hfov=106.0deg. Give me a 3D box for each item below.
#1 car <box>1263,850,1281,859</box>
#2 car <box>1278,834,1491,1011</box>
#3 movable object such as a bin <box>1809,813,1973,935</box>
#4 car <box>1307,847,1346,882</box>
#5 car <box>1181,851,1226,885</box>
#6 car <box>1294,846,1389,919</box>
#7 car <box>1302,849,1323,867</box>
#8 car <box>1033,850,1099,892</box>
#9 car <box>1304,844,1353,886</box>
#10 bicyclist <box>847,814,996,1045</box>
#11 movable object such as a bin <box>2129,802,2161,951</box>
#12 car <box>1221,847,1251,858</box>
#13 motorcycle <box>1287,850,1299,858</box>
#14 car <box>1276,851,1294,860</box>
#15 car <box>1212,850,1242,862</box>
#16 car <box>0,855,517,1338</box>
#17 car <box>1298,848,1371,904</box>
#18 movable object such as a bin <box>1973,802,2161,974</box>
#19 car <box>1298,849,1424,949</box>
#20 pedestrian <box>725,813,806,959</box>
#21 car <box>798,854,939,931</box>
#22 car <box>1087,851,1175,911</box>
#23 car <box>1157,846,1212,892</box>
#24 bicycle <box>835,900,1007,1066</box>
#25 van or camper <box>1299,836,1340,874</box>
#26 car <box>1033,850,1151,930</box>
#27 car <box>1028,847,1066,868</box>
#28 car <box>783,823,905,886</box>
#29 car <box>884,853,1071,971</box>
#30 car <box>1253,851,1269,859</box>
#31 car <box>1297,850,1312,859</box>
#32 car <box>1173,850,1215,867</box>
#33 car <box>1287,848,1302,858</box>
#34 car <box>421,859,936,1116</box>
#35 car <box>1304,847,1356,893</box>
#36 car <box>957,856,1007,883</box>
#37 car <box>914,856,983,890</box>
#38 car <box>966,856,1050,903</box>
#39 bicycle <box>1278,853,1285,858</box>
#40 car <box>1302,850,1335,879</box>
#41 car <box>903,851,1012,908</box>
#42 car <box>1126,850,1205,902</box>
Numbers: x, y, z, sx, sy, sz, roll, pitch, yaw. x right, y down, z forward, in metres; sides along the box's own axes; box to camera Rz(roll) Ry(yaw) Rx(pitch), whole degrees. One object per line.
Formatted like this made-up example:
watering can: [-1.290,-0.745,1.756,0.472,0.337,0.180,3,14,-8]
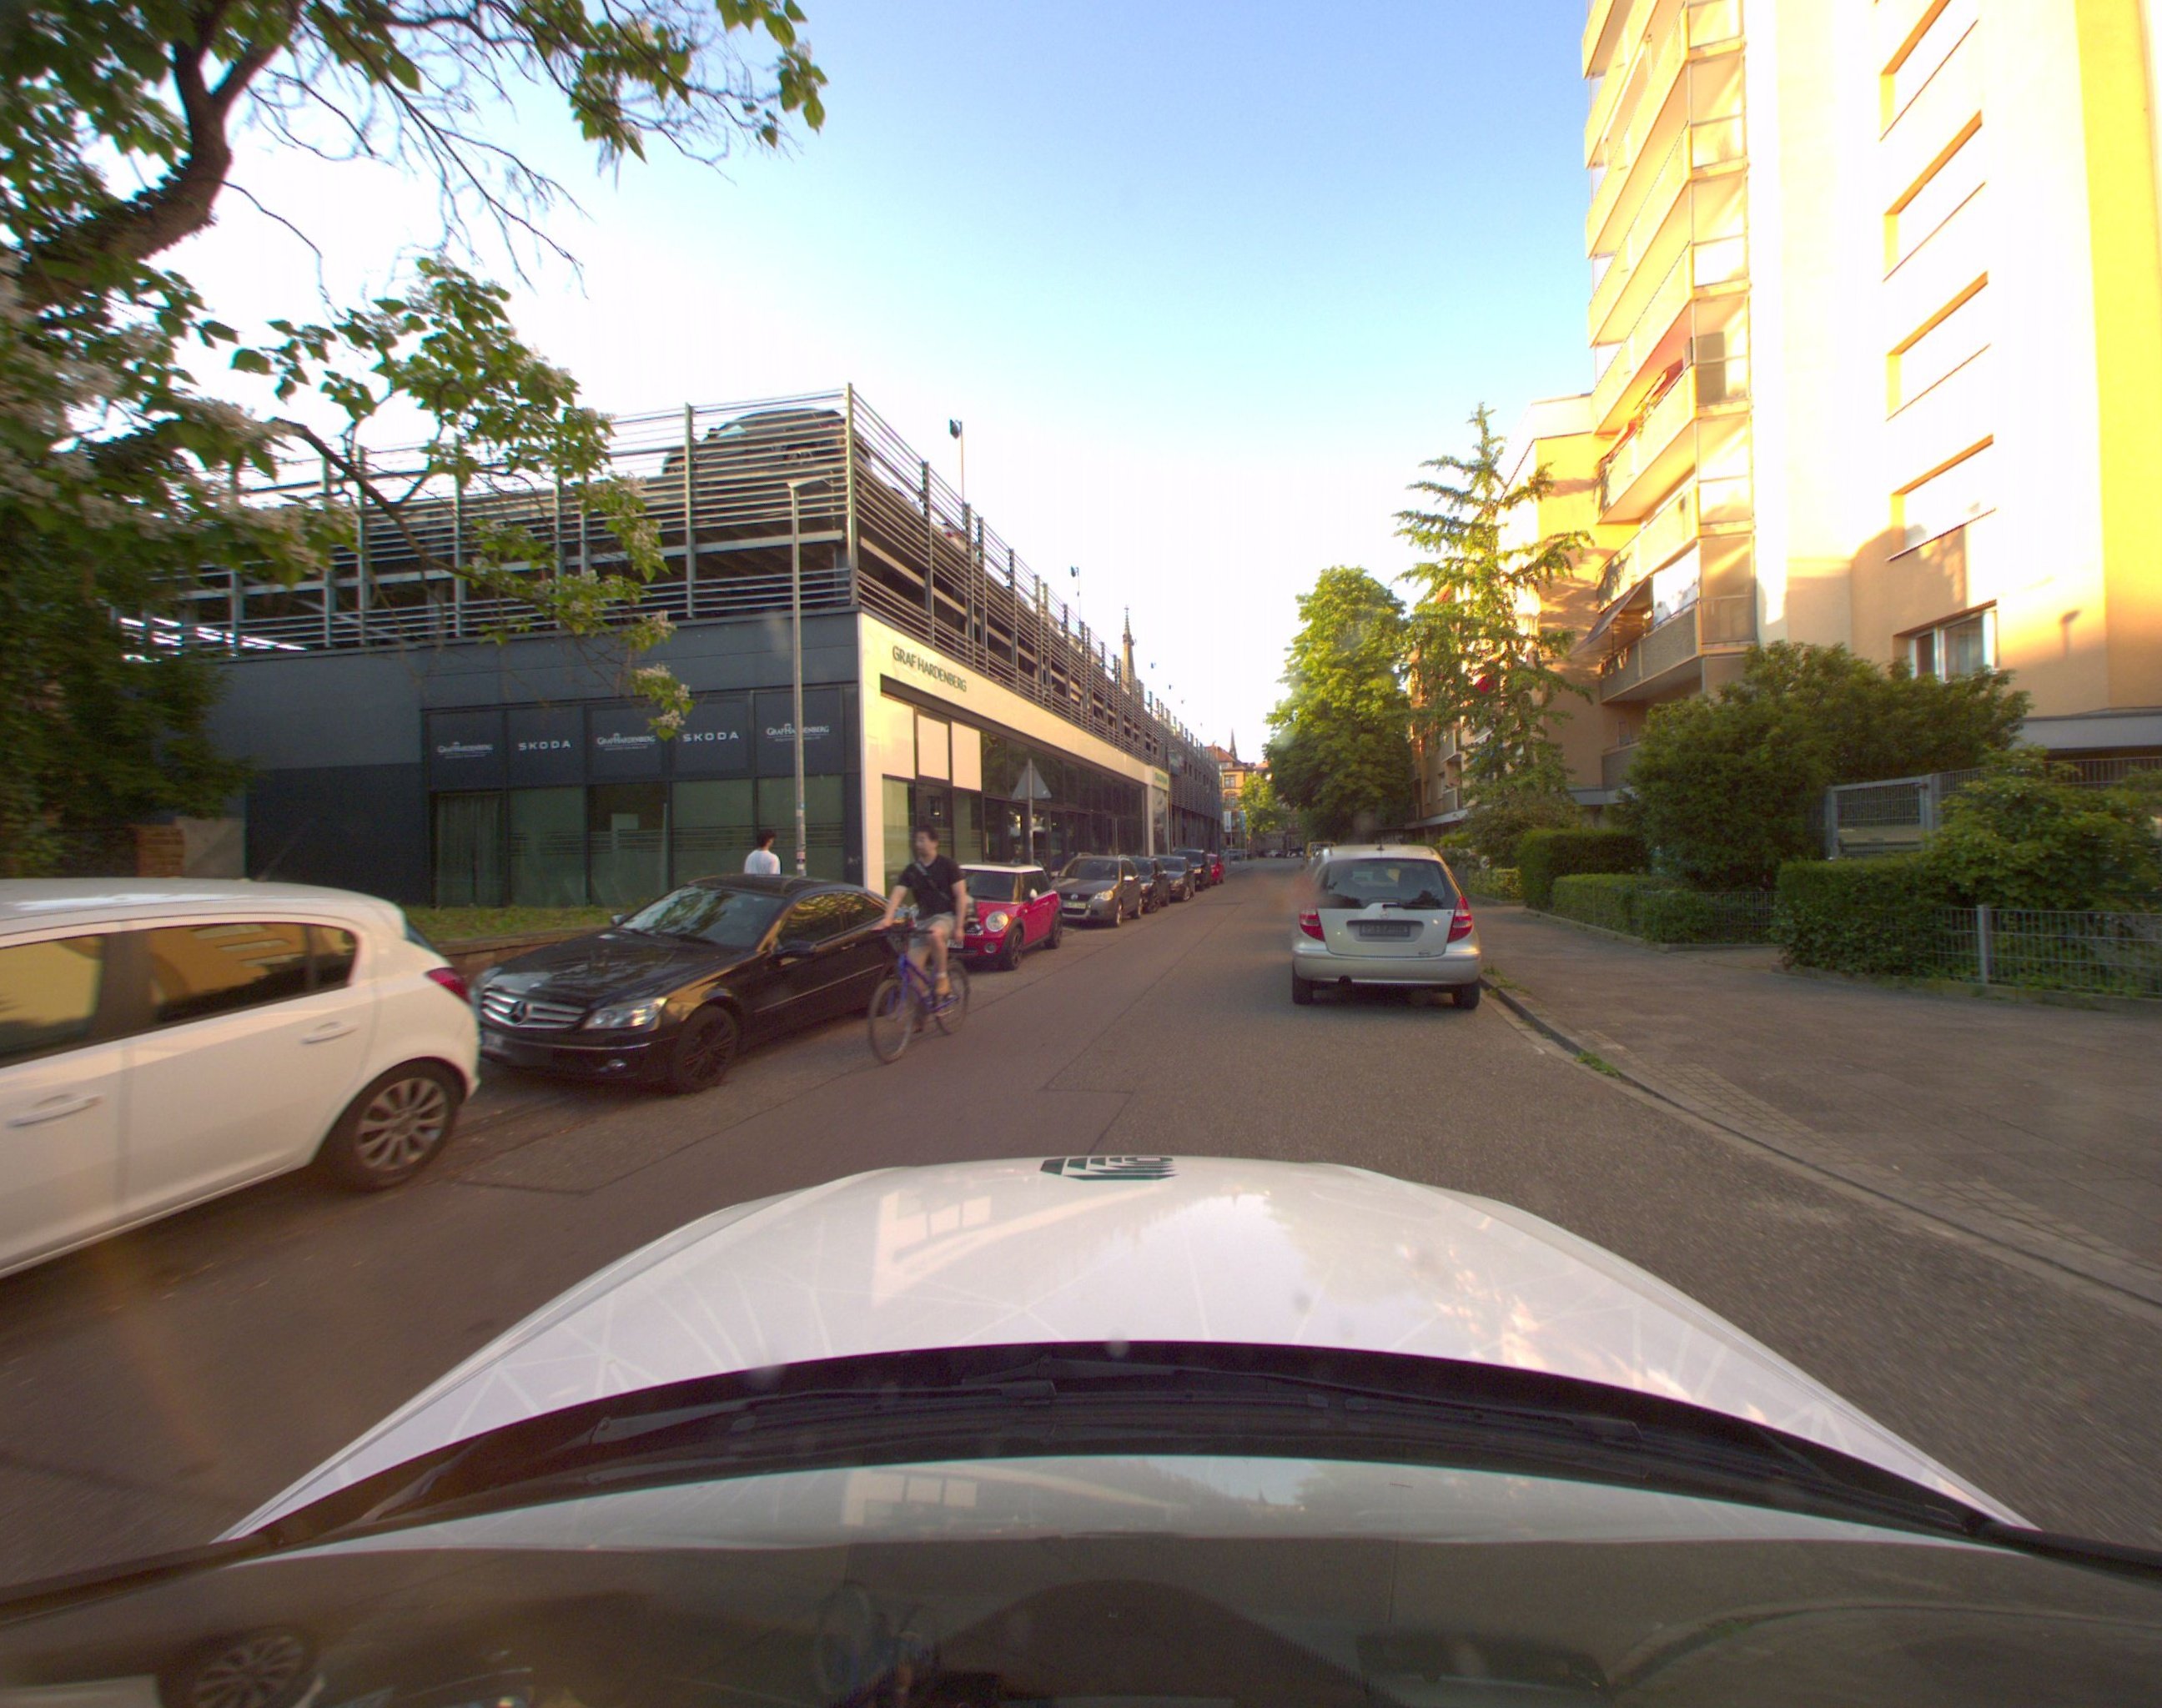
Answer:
car: [34.187,0.067,145.865,1.653,1.431,4.157,-1,1,-7]
car: [3.263,0.615,9.364,1.796,1.575,3.900,-2,0,15]
movable object such as a bin: [10.116,0.230,10.241,0.871,1.415,1.305,-2,1,11]
car: [11.481,0.472,38.300,1.598,1.510,3.492,-2,0,15]
car: [6.005,0.633,39.657,1.685,1.506,3.806,-2,0,15]
car: [5.739,0.571,18.250,1.796,1.416,3.912,-2,0,15]
car: [20.960,0.344,73.849,1.746,1.442,4.022,-2,1,15]
car: [-0.594,0.707,35.991,1.685,1.658,4.427,-2,0,15]
car: [10.194,0.417,33.761,1.778,1.562,4.210,-2,0,15]
bicyclist: [-1.323,0.592,6.946,0.853,1.808,1.020,-2,0,12]
movable object such as a bin: [11.169,0.217,7.449,1.175,1.470,1.587,-2,1,11]
car: [25.068,-0.286,131.822,4.801,1.732,1.925,-1,1,9]
motorcycle: [35.734,0.007,137.472,1.922,1.340,0.578,-2,0,4]
car: [35.287,0.206,141.181,1.654,1.431,3.978,-1,1,-9]
car: [20.348,0.304,113.412,4.101,1.618,1.920,0,1,13]
car: [-4.364,0.820,2.852,1.652,1.514,3.895,2,1,9]
car: [7.279,0.569,23.750,1.796,1.416,4.644,-2,0,15]
movable object such as a bin: [9.798,0.267,7.691,1.116,1.470,1.587,-2,1,11]
car: [4.631,0.663,13.942,1.704,1.419,4.044,-2,0,15]
pedestrian: [-4.223,0.417,10.927,0.715,1.878,0.623,-2,0,16]
car: [-5.099,0.873,20.089,1.581,1.650,3.892,-2,0,15]
car: [1.525,0.692,23.168,1.716,1.402,4.022,4,2,14]
car: [4.431,0.570,34.439,1.685,1.756,4.421,-2,0,15]
bicycle: [-1.286,1.025,7.007,0.754,1.097,1.870,-3,0,11]
van or camper: [14.120,0.012,48.393,2.049,2.096,5.110,-2,1,14]
car: [0.367,0.729,18.716,1.649,1.497,3.901,4,2,16]
car: [-2.152,0.195,52.233,1.409,1.255,3.541,-2,1,15]
car: [-6.829,0.010,23.883,1.685,1.658,3.753,-2,0,15]
car: [-1.424,0.765,12.832,1.651,1.410,3.940,3,1,12]
car: [33.333,0.132,150.665,1.654,1.431,3.884,-1,1,-9]
car: [39.782,0.115,145.014,1.674,1.525,2.758,-1,0,-9]
car: [11.230,0.440,80.981,3.959,1.586,1.866,-2,-2,13]
car: [39.003,-0.107,148.810,1.674,1.782,3.005,-1,0,-9]
car: [-3.044,0.845,7.405,1.650,1.415,4.431,4,2,14]
car: [8.787,0.530,28.966,1.598,1.461,4.070,-2,0,15]
car: [-5.155,0.799,42.800,1.409,1.255,3.227,-2,1,15]
car: [-6.106,0.850,38.022,1.685,1.434,3.936,-2,0,15]
car: [-2.565,0.875,29.620,1.685,1.514,4.010,-2,0,15]
bicycle: [33.432,0.243,135.800,0.420,0.822,1.471,-1,1,37]
car: [12.632,0.512,43.258,1.594,1.381,4.018,-2,1,16]
car: [-3.623,0.708,24.754,1.685,1.514,4.209,-2,0,15]
car: [3.017,0.707,28.209,1.922,1.596,4.224,-2,1,17]
